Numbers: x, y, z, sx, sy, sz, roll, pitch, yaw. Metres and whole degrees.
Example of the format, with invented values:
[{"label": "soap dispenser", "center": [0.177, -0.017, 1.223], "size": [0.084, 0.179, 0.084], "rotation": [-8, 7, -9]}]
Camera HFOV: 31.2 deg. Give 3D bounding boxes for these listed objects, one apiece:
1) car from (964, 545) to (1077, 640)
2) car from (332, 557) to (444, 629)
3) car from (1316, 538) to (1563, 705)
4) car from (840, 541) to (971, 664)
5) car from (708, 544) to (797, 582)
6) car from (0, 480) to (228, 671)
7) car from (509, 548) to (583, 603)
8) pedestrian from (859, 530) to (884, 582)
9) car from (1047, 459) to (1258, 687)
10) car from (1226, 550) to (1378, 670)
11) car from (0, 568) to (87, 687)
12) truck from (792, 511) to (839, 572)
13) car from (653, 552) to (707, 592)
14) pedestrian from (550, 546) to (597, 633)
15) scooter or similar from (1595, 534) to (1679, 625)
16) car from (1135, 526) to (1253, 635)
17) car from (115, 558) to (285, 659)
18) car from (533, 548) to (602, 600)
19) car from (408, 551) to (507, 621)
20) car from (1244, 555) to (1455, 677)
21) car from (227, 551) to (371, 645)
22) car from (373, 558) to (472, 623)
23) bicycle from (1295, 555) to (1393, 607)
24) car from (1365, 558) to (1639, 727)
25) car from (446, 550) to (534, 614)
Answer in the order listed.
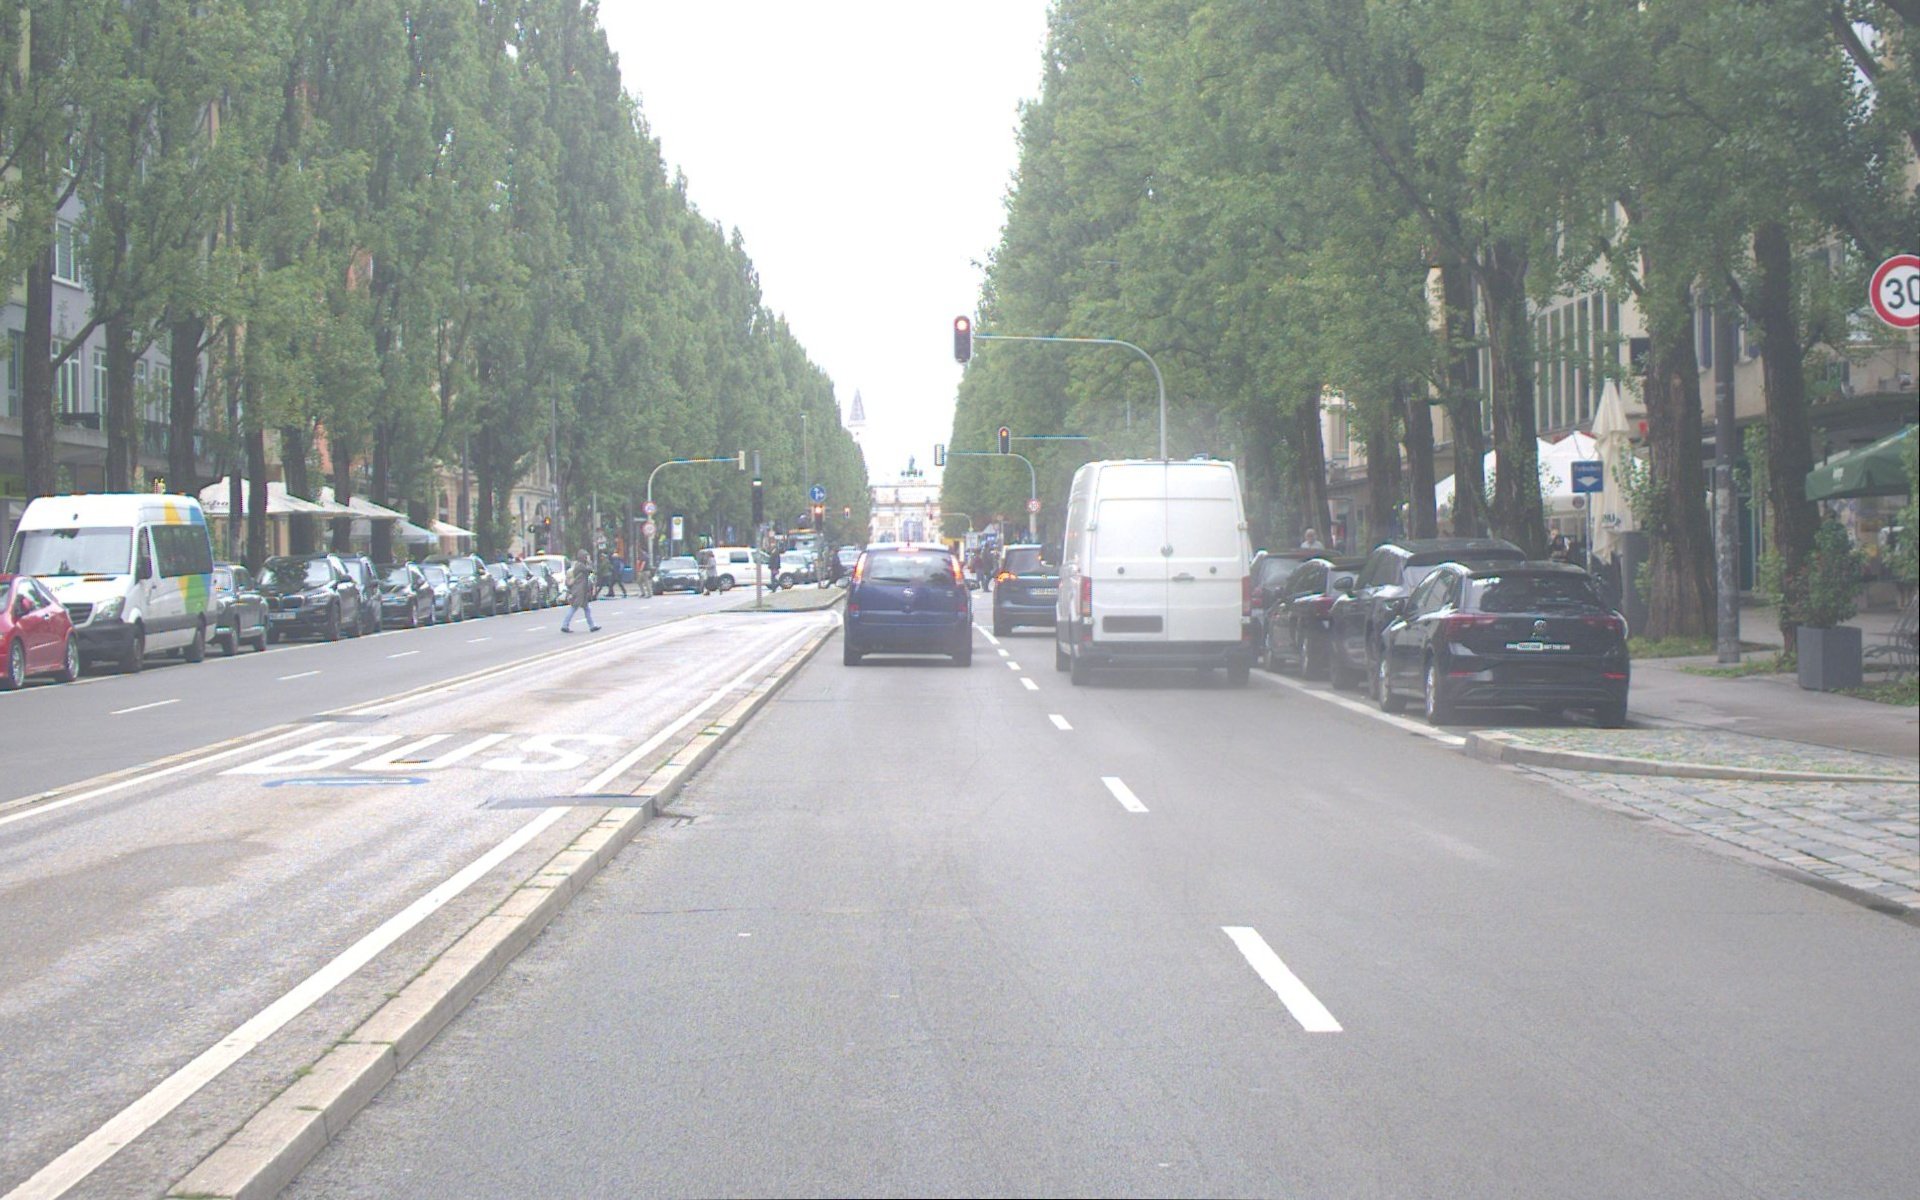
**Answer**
[{"label": "car", "center": [1.038, -0.160, 61.125], "size": [1.896, 1.616, 4.000], "rotation": [0, 1, -1]}, {"label": "car", "center": [-12.766, -0.180, 76.949], "size": [1.798, 1.483, 4.350], "rotation": [-2, 1, -1]}, {"label": "car", "center": [4.981, 0.186, 36.311], "size": [1.803, 1.632, 4.448], "rotation": [1, 1, -2]}, {"label": "car", "center": [-0.724, 0.005, 46.040], "size": [1.671, 1.563, 4.000], "rotation": [0, 1, -1]}, {"label": "car", "center": [-8.775, -1.587, 145.361], "size": [3.353, 1.555, 1.741], "rotation": [-1, 1, -24]}, {"label": "car", "center": [-12.494, -0.387, 50.516], "size": [2.005, 2.559, 6.912], "rotation": [-2, 1, -1]}, {"label": "car", "center": [-13.219, -0.805, 109.910], "size": [1.866, 1.660, 4.120], "rotation": [-2, 1, -1]}, {"label": "pedestrian", "center": [-3.136, -1.572, 121.997], "size": [0.719, 1.820, 0.888], "rotation": [1, 0, -10]}, {"label": "car", "center": [2.188, -0.349, 40.847], "size": [2.063, 2.484, 6.730], "rotation": [0, 1, 0]}, {"label": "car", "center": [4.476, 0.105, 45.293], "size": [1.592, 1.513, 2.730], "rotation": [1, 1, -3]}, {"label": "car", "center": [-12.460, 0.346, 43.570], "size": [1.737, 1.414, 4.148], "rotation": [-2, 1, -1]}, {"label": "truck", "center": [-8.114, -3.273, 193.453], "size": [2.383, 3.335, 7.111], "rotation": [-1, 1, -1]}, {"label": "car", "center": [-10.836, -1.099, 133.345], "size": [1.697, 1.457, 4.713], "rotation": [-2, 1, -1]}, {"label": "pedestrian", "center": [-7.474, -0.210, 66.515], "size": [0.859, 1.678, 0.627], "rotation": [-1, 1, -3]}, {"label": "scooter or similar", "center": [10.813, -0.347, 55.016], "size": [0.636, 1.371, 2.495], "rotation": [-2, 2, -4]}, {"label": "car", "center": [4.283, -0.384, 63.620], "size": [1.787, 1.939, 4.731], "rotation": [0, 1, -1]}, {"label": "car", "center": [-12.680, 0.111, 57.621], "size": [1.866, 1.546, 4.414], "rotation": [-2, 1, -1]}, {"label": "car", "center": [-13.362, -0.901, 117.185], "size": [1.866, 1.660, 4.120], "rotation": [-2, 1, -1]}, {"label": "car", "center": [-12.774, -0.385, 87.578], "size": [1.866, 1.660, 4.401], "rotation": [-2, 1, -1]}, {"label": "car", "center": [4.645, 0.156, 41.575], "size": [1.709, 1.388, 4.344], "rotation": [0, 1, -5]}, {"label": "car", "center": [-12.585, -0.073, 65.737], "size": [1.866, 1.658, 4.611], "rotation": [-2, 1, -1]}, {"label": "car", "center": [-12.812, -0.243, 82.176], "size": [1.733, 1.421, 4.144], "rotation": [-2, 1, -1]}, {"label": "bicycle", "center": [9.134, -0.459, 81.719], "size": [2.227, 1.200, 0.626], "rotation": [-1, 1, -2]}, {"label": "car", "center": [4.830, 0.336, 31.148], "size": [1.694, 1.411, 3.952], "rotation": [0, 1, -3]}, {"label": "car", "center": [-12.879, -0.517, 94.419], "size": [1.866, 1.660, 4.120], "rotation": [-2, 1, -1]}]
